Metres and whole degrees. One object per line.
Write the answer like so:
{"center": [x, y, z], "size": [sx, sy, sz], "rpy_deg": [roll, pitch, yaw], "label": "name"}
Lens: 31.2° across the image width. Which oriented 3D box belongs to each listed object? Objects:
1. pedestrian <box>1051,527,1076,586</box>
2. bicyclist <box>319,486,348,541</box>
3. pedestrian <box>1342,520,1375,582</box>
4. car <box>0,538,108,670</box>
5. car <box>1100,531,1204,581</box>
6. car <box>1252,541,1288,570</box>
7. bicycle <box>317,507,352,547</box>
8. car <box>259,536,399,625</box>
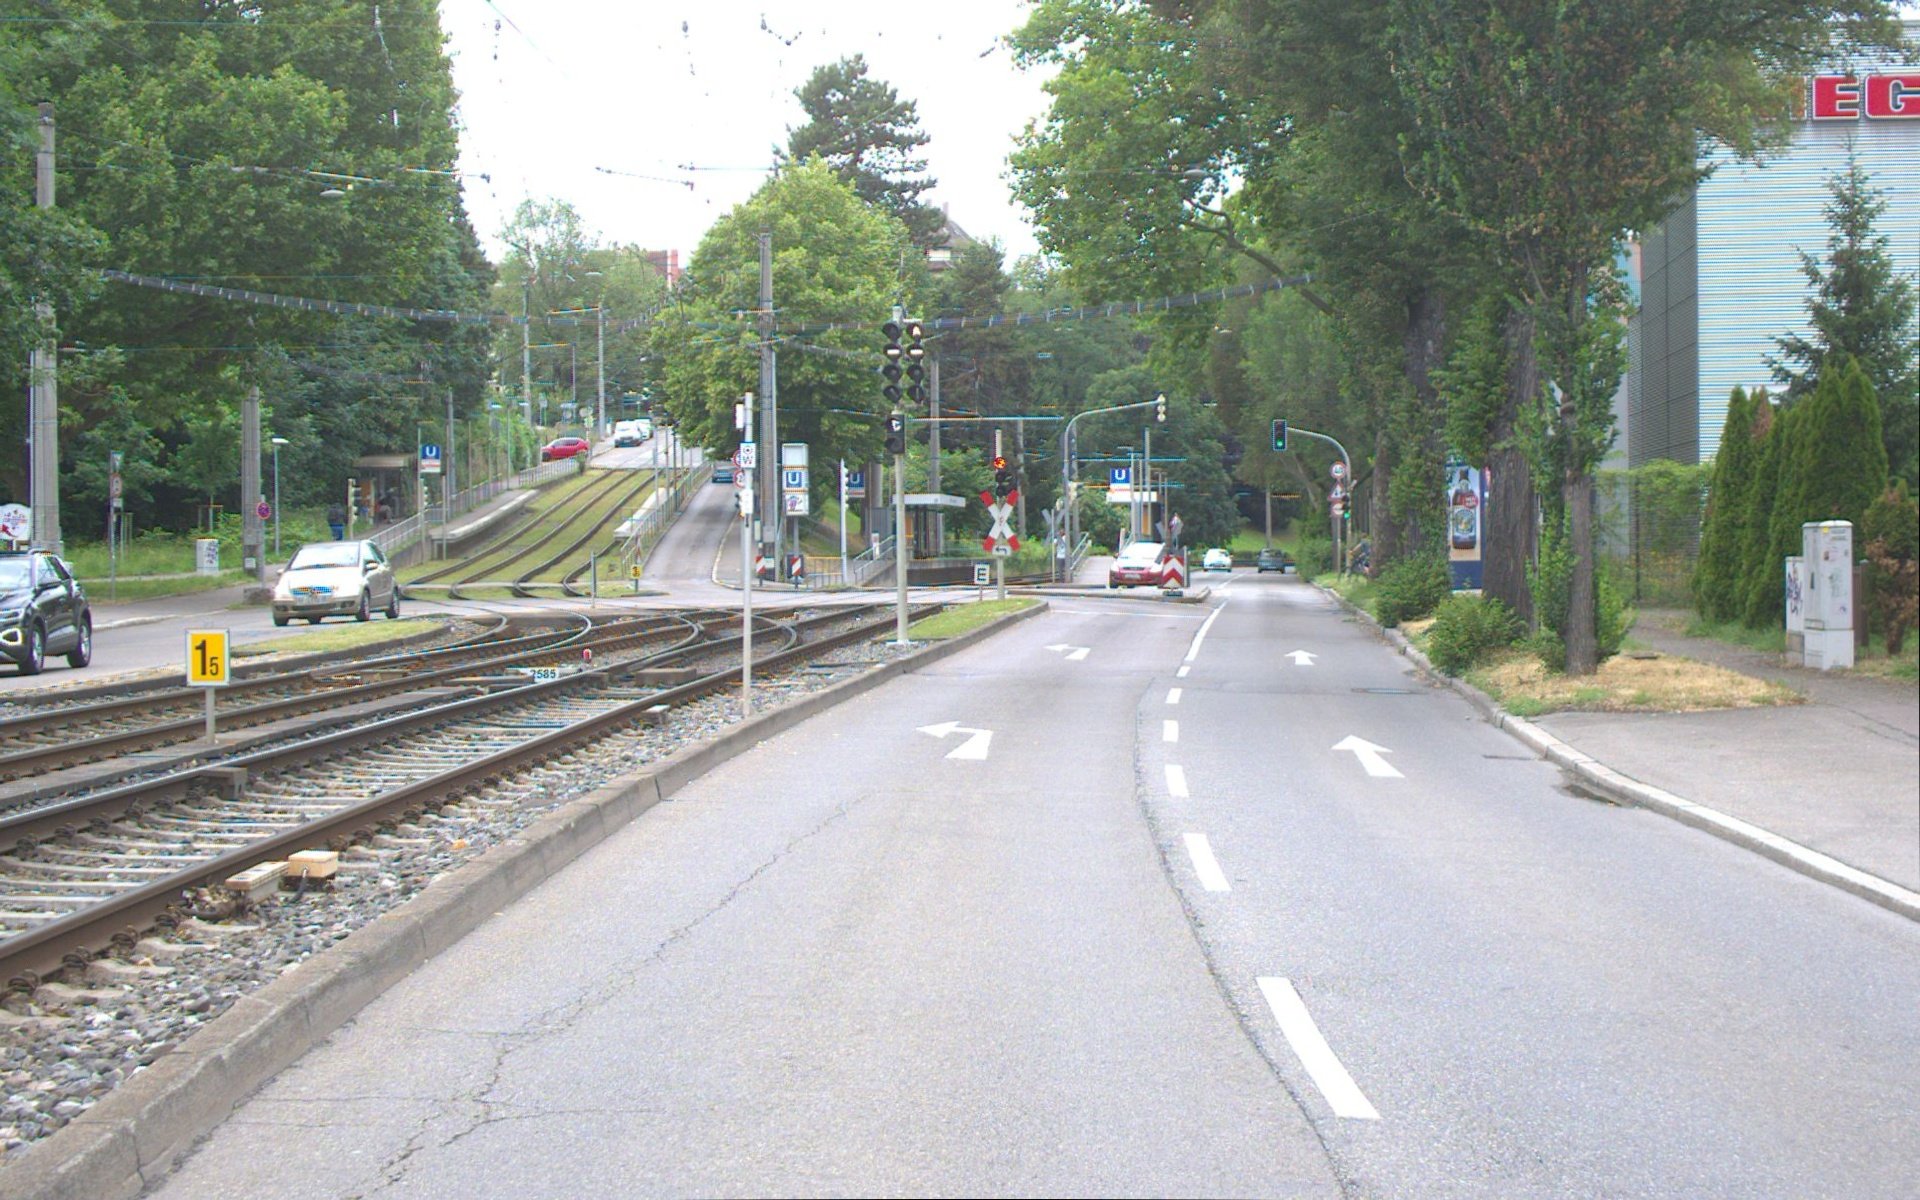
{"center": [3.283, -1.382, 109.095], "size": [0.768, 1.846, 0.910], "rpy_deg": [0, 0, 2], "label": "pedestrian"}
{"center": [-21.442, -2.956, 117.683], "size": [0.821, 1.843, 1.052], "rpy_deg": [-1, 1, -3], "label": "bicyclist"}
{"center": [13.013, -1.604, 112.210], "size": [0.666, 2.007, 0.934], "rpy_deg": [-1, 1, -27], "label": "pedestrian"}
{"center": [-11.982, 0.049, 42.837], "size": [1.687, 1.526, 4.256], "rpy_deg": [-3, 1, -1], "label": "car"}
{"center": [6.079, -1.386, 108.320], "size": [1.996, 1.510, 4.496], "rpy_deg": [1, 1, 21], "label": "car"}
{"center": [19.829, -2.857, 220.264], "size": [1.993, 1.809, 4.000], "rpy_deg": [-1, 1, 1], "label": "car"}
{"center": [-21.448, -2.501, 117.956], "size": [0.824, 1.339, 2.997], "rpy_deg": [-1, 1, -3], "label": "bicycle"}
{"center": [-12.031, -0.393, 65.802], "size": [1.890, 1.526, 4.256], "rpy_deg": [-3, 1, -1], "label": "car"}
